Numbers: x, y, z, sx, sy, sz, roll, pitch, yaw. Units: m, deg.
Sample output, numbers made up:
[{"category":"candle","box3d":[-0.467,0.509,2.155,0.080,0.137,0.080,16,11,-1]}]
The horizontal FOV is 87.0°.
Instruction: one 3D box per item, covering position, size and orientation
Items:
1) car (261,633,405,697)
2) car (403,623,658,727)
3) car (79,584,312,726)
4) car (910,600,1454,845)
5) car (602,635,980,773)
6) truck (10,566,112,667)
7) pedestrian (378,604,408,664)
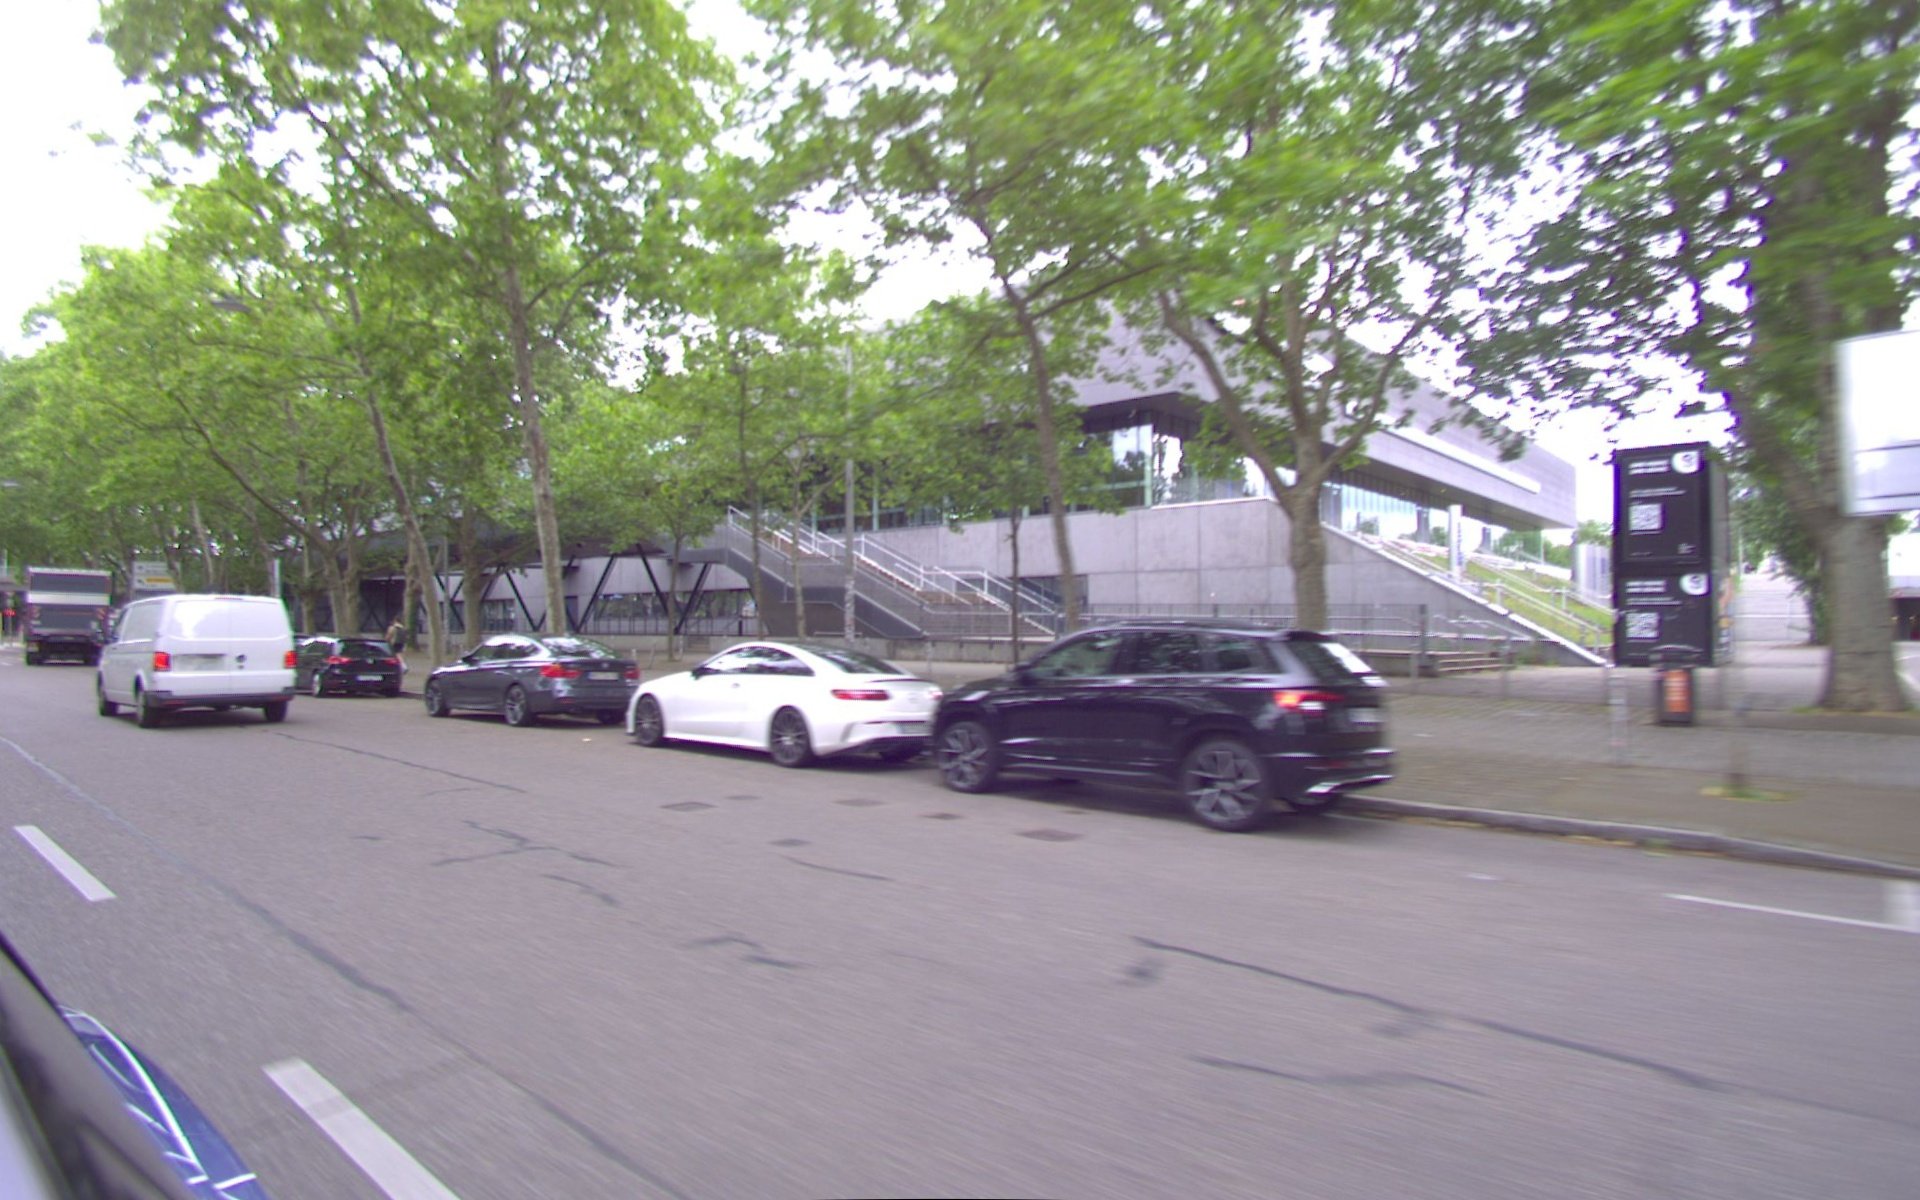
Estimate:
[{"category":"car","box3d":[-15.085,1.531,24.256,4.329,1.392,1.689,-2,-6,41]},{"category":"car","box3d":[-7.322,1.172,16.993,4.988,1.496,1.801,-1,-3,39]},{"category":"car","box3d":[-12.695,0.857,16.644,5.464,1.976,2.037,-2,-3,42]},{"category":"car","box3d":[1.725,0.908,8.856,4.345,1.606,1.797,-2,-5,44]},{"category":"car","box3d":[-2.244,1.138,12.413,5.002,1.373,1.797,-2,-4,41]},{"category":"truck","box3d":[-38.619,0.743,43.581,2.874,3.898,9.480,3,-3,-41]},{"category":"pedestrian","box3d":[-17.645,1.060,31.503,0.825,1.854,0.502,-2,-2,35]}]
